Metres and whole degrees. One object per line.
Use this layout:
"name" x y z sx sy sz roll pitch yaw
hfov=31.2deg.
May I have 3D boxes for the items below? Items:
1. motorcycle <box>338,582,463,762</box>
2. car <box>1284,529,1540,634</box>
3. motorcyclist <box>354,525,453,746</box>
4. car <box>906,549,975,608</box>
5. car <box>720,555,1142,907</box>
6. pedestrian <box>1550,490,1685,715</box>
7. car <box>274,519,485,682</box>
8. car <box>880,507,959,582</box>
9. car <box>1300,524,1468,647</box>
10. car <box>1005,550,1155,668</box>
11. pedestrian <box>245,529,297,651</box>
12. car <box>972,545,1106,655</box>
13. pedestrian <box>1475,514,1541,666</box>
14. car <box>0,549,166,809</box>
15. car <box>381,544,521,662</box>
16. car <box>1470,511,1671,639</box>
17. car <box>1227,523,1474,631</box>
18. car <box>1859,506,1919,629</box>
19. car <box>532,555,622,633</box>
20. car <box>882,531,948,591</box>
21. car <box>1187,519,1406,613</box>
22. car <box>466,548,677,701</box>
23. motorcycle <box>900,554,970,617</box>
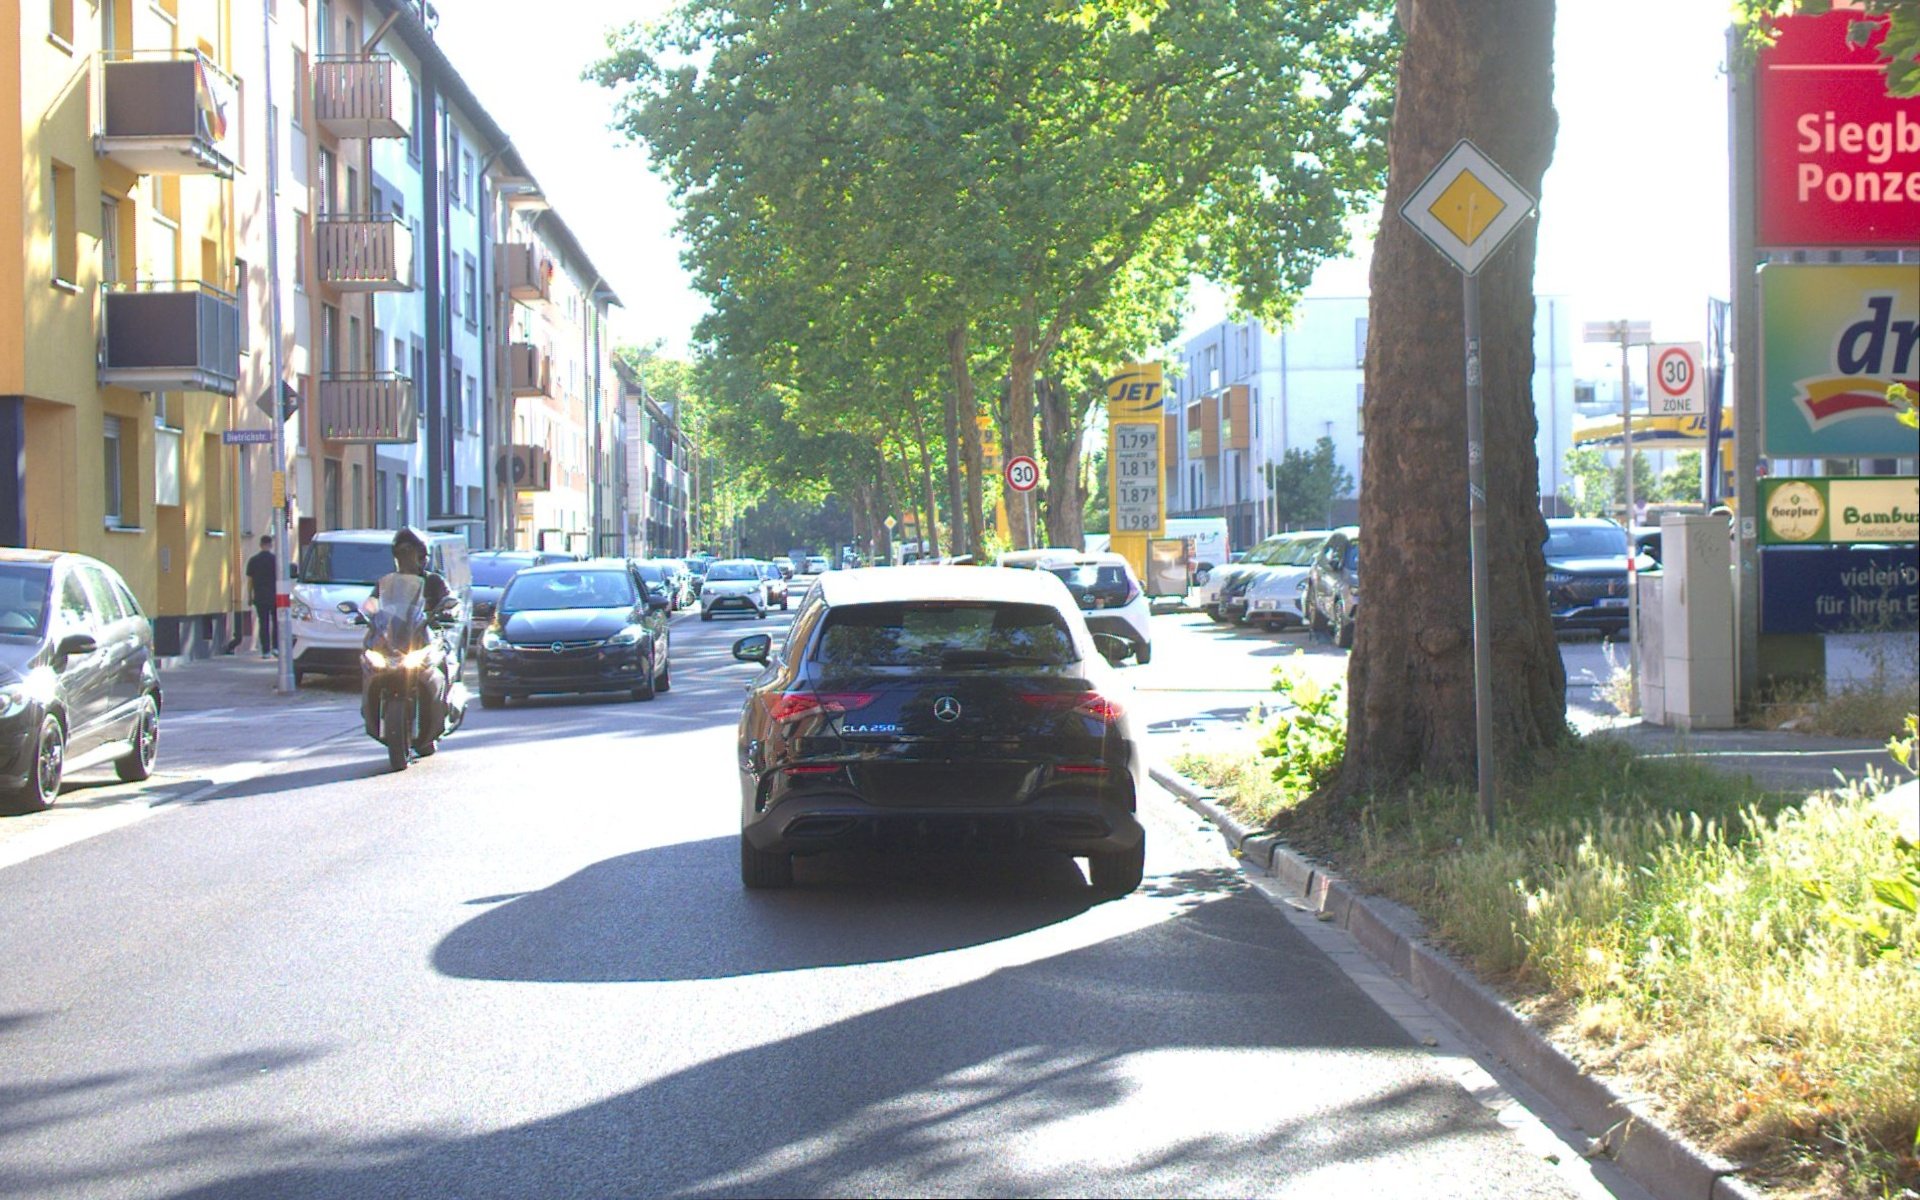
"motorcycle" -4.116 0.500 25.419 0.547 1.237 2.264 -3 1 -2
"car" 7.065 -0.299 53.581 3.807 1.540 1.662 -2 1 -35
"motorcyclist" -4.120 0.251 25.482 0.585 1.600 0.831 -1 1 -2
"car" -0.552 -0.585 94.154 1.722 1.552 3.601 1 0 -3
"car" -0.085 0.521 16.353 1.744 1.438 3.969 1 1 1
"pedestrian" 5.282 0.015 27.630 0.767 1.755 0.664 -3 1 -17
"car" -7.115 -0.034 42.638 1.734 1.900 5.209 0 1 0
"car" -0.899 -1.193 75.147 1.559 1.590 3.601 1 0 -3
"car" 6.040 -0.237 49.403 1.752 1.664 4.158 -1 1 -2
"car" 1.581 0.112 46.654 1.635 1.463 4.021 -2 0 -3
"pedestrian" -10.133 -0.151 50.583 0.587 1.784 0.642 -1 1 -1
"car" 1.183 -0.005 53.480 1.810 1.533 4.583 -3 0 -1
"pedestrian" 6.309 -0.120 39.567 0.692 1.717 0.721 -1 1 12
"car" -6.466 0.430 22.319 1.678 1.518 4.021 1 1 0
"car" -8.044 0.014 54.648 1.745 1.781 4.550 1 1 -3
"car" 8.735 -0.374 49.534 1.825 1.726 4.369 -1 1 -4
"car" 6.399 -0.385 56.190 3.808 1.604 1.741 -3 2 -37
"car" 14.419 -0.478 48.952 1.875 1.727 4.181 -1 1 -4
"car" -7.758 -0.140 69.853 1.547 1.518 4.005 1 1 -3
"car" -1.581 -1.347 119.411 1.993 2.007 4.000 0 -1 -5
"car" 6.173 -0.631 62.867 3.808 1.573 1.746 -3 2 -39
"car" -4.042 0.212 36.359 1.771 1.473 4.322 -1 1 -1
"motorcycle" -0.623 -0.370 86.920 1.641 1.552 0.612 1 0 -23
